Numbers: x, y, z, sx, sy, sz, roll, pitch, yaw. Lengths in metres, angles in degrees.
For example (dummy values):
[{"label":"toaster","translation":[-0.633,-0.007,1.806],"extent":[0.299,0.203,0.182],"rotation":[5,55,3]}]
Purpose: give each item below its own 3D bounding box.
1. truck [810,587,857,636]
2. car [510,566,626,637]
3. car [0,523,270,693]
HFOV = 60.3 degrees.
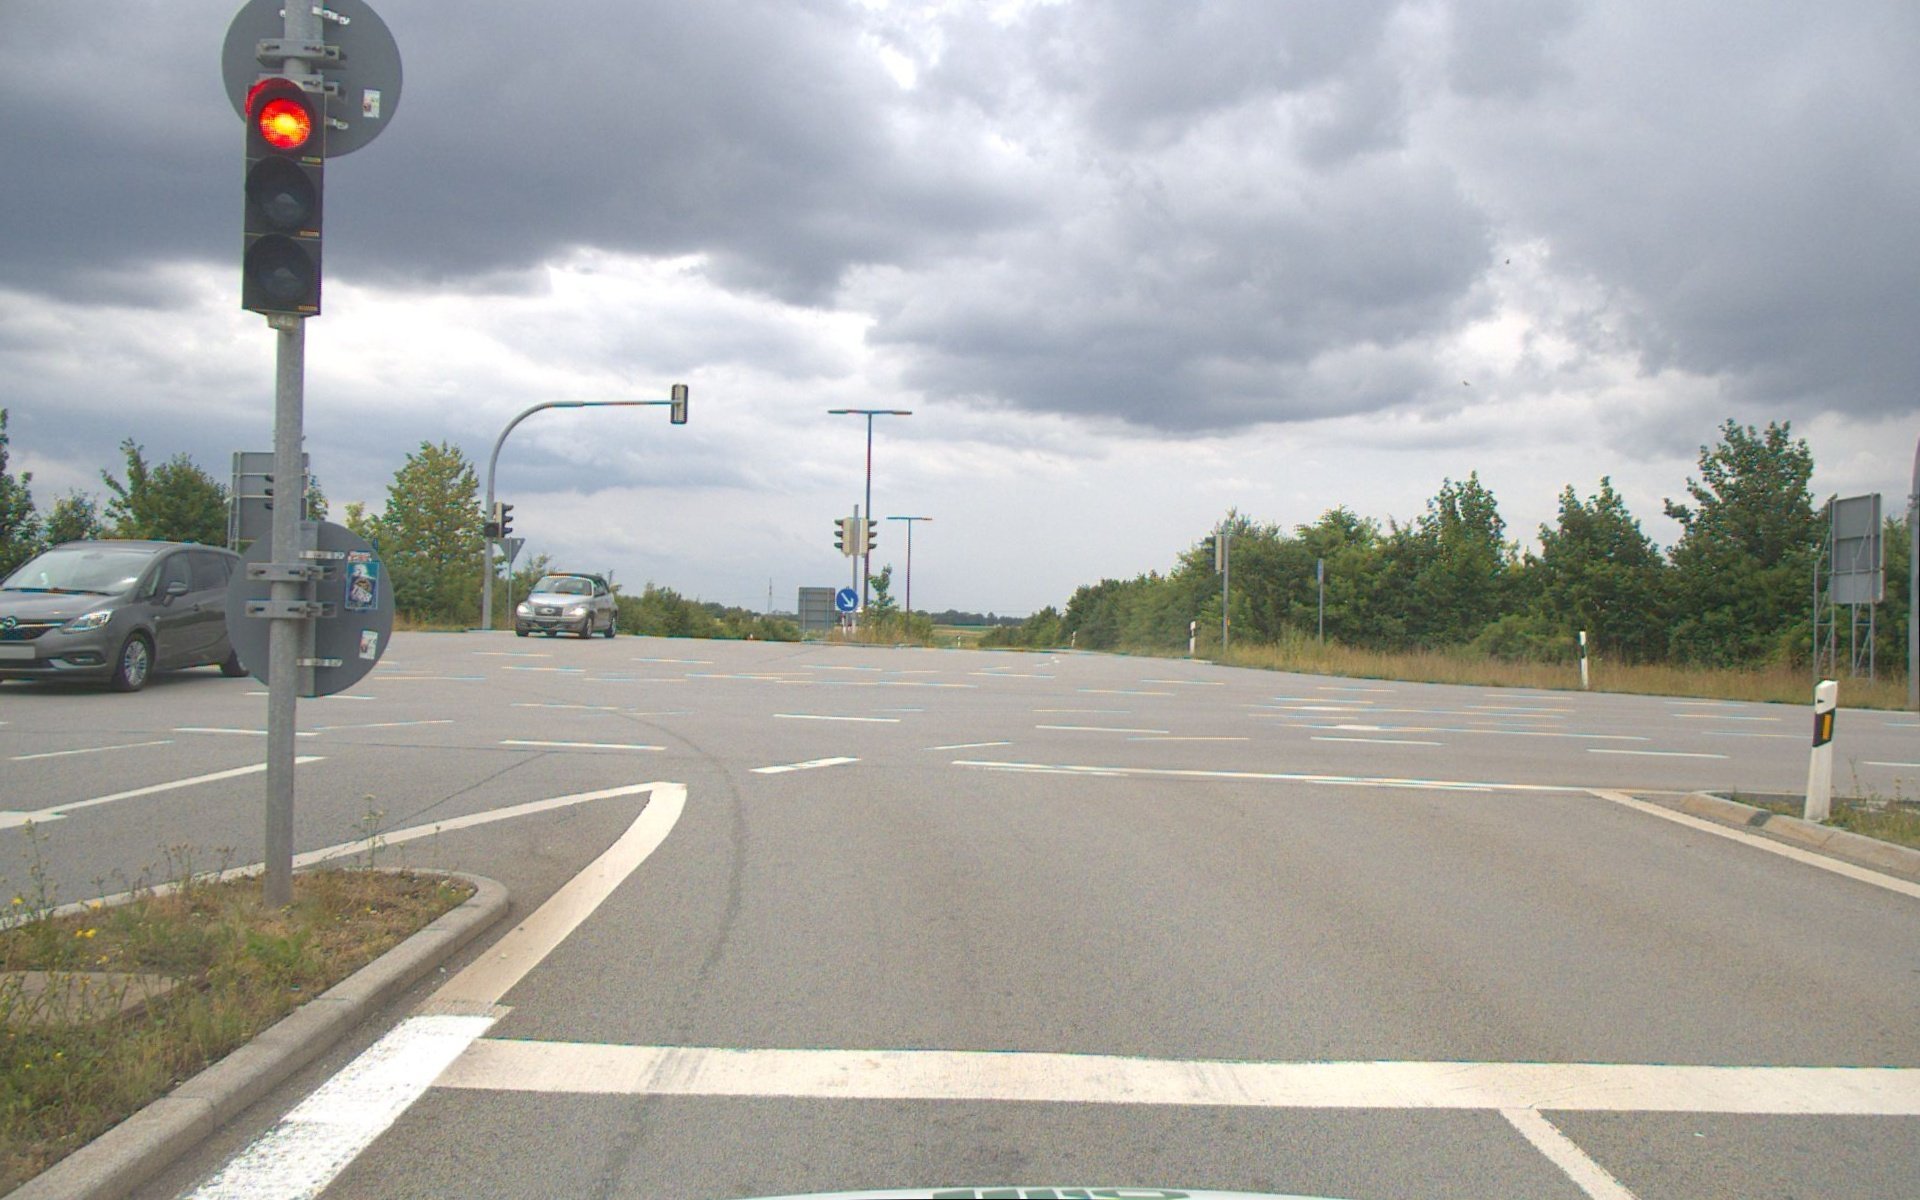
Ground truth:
[{"label":"truck","translation":[-9.342,0.917,122.837],"extent":[2.811,3.468,8.648],"rotation":[1,-1,-1]},{"label":"car","translation":[-9.292,-0.001,39.478],"extent":[1.773,1.546,4.242],"rotation":[2,1,-1]},{"label":"car","translation":[-9.857,0.082,19.087],"extent":[1.953,1.723,4.454],"rotation":[1,0,-1]}]
